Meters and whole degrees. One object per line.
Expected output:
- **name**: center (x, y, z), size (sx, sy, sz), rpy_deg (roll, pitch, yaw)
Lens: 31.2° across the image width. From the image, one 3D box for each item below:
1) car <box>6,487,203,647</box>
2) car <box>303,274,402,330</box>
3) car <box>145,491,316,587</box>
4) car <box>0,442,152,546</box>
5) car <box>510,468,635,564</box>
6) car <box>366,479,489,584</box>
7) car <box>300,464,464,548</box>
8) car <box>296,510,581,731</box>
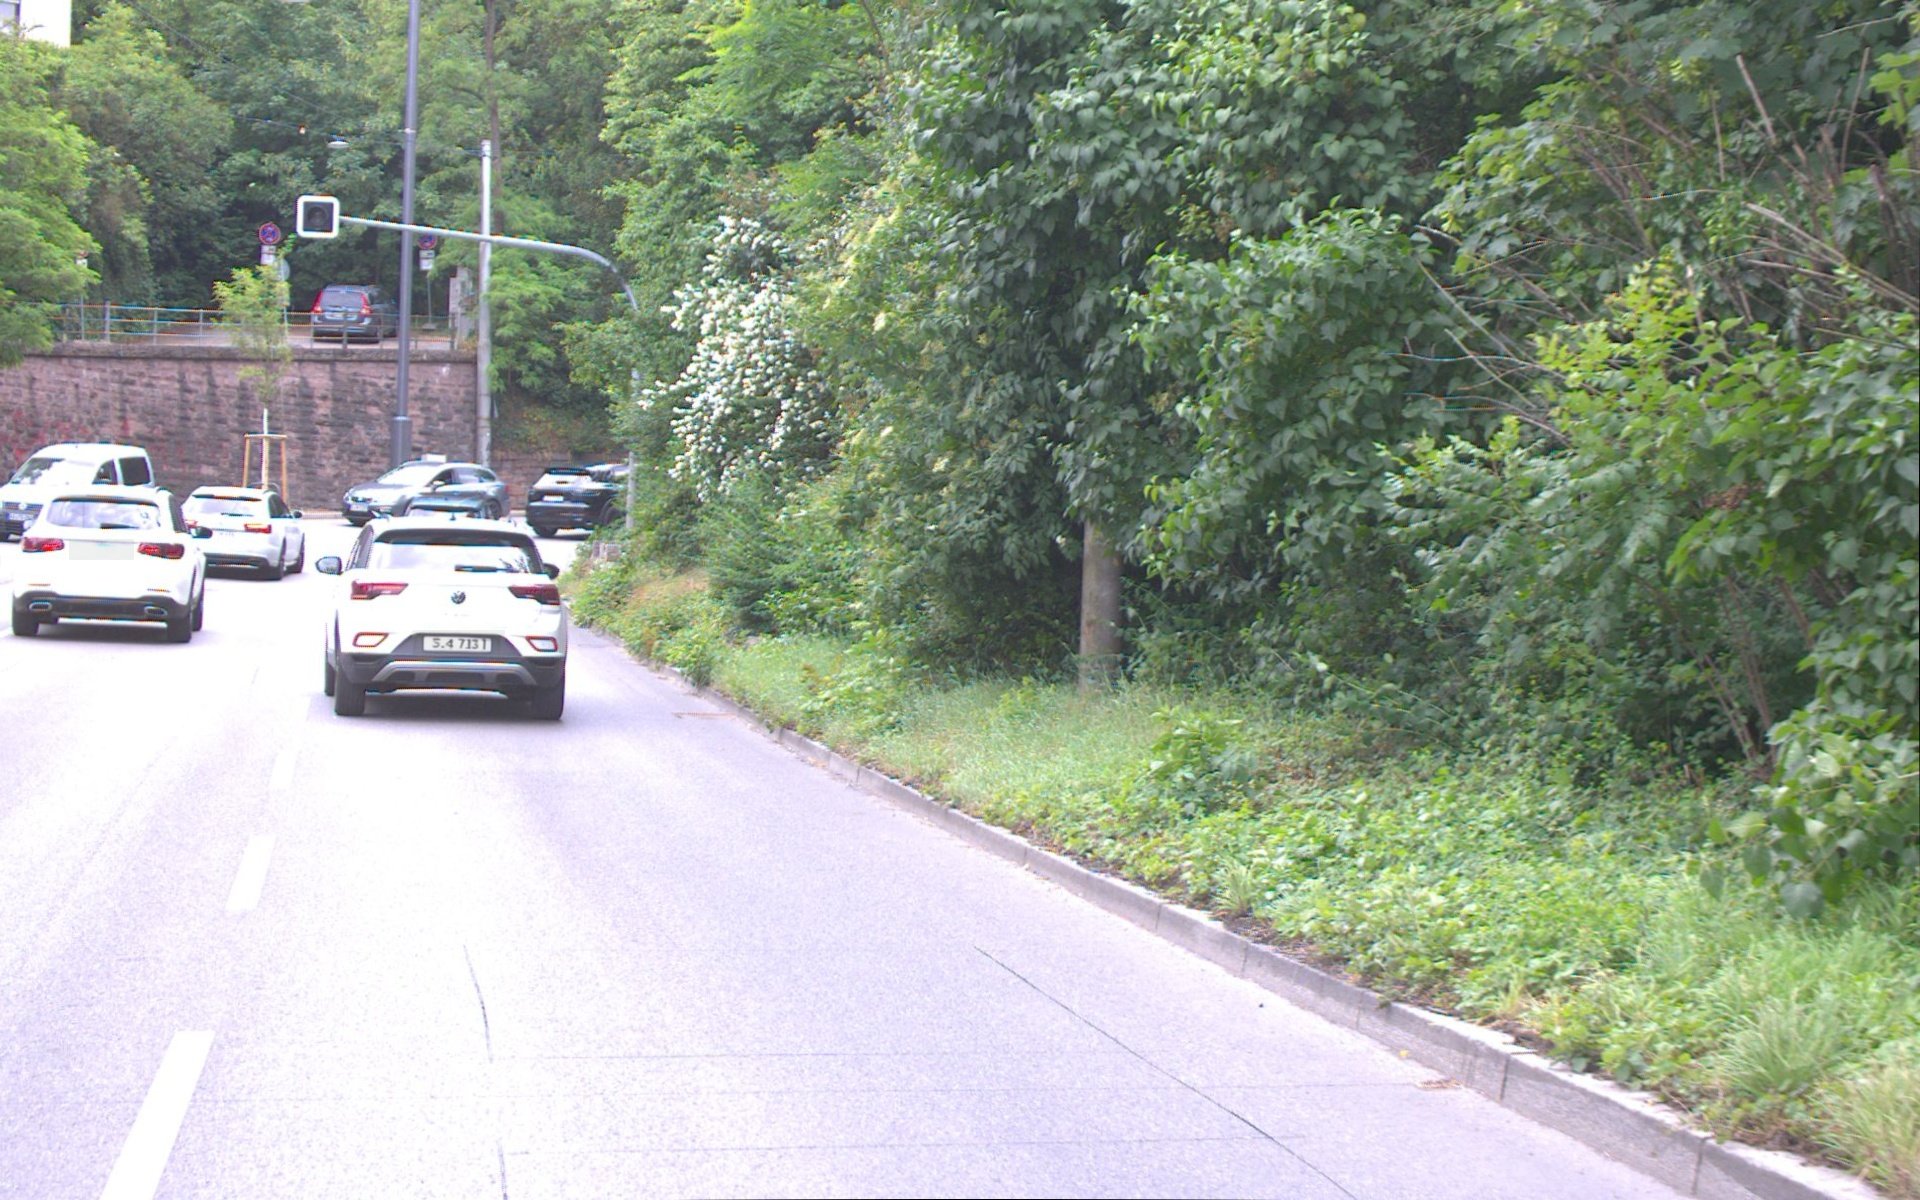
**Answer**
- **car**: center (-9.327, -0.383, 37.742), size (1.876, 1.646, 4.343), rpy_deg (0, 1, -11)
- **car**: center (-16.771, -8.249, 95.048), size (1.993, 1.480, 4.001), rpy_deg (2, 5, 0)
- **car**: center (-12.166, -1.049, 57.620), size (2.247, 1.514, 4.309), rpy_deg (1, 2, -5)
- **car**: center (-16.991, -1.991, 64.426), size (1.946, 1.792, 4.284), rpy_deg (5, 1, 10)
- **car**: center (-8.465, -1.825, 75.427), size (2.189, 2.007, 4.000), rpy_deg (-1, 1, 1)
- **car**: center (-8.762, -1.128, 56.816), size (1.860, 1.626, 3.960), rpy_deg (-1, 1, -7)
- **car**: center (-12.820, -2.086, 76.505), size (1.947, 1.688, 4.283), rpy_deg (4, 2, 14)
- **car**: center (-4.280, 0.110, 27.737), size (1.864, 1.550, 3.896), rpy_deg (2, 2, -14)
